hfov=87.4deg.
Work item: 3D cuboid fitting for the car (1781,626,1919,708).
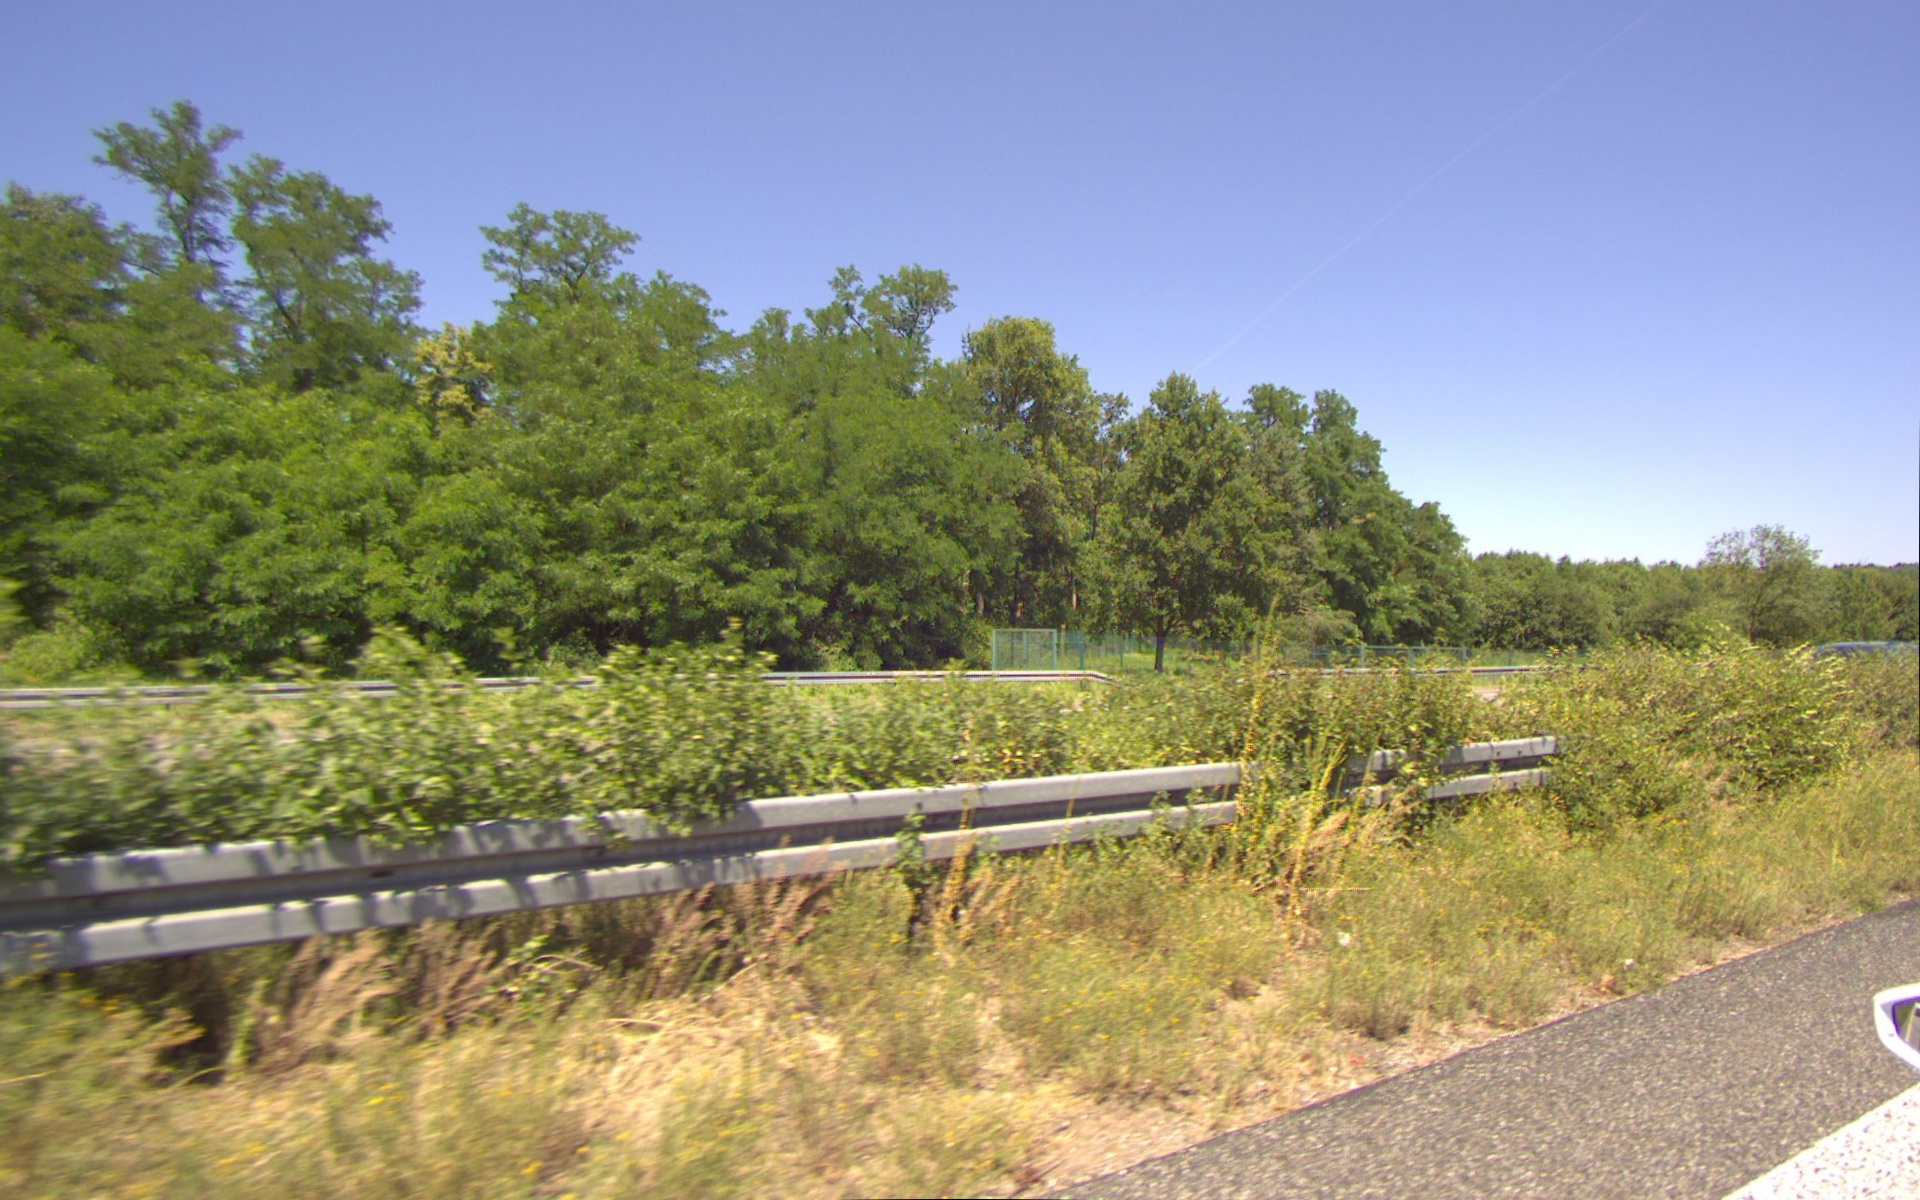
[{"bbox_3d":[19.657,1.385,21.641,3.953,1.622,1.804,1,-2,-30],"label":"car"}]
